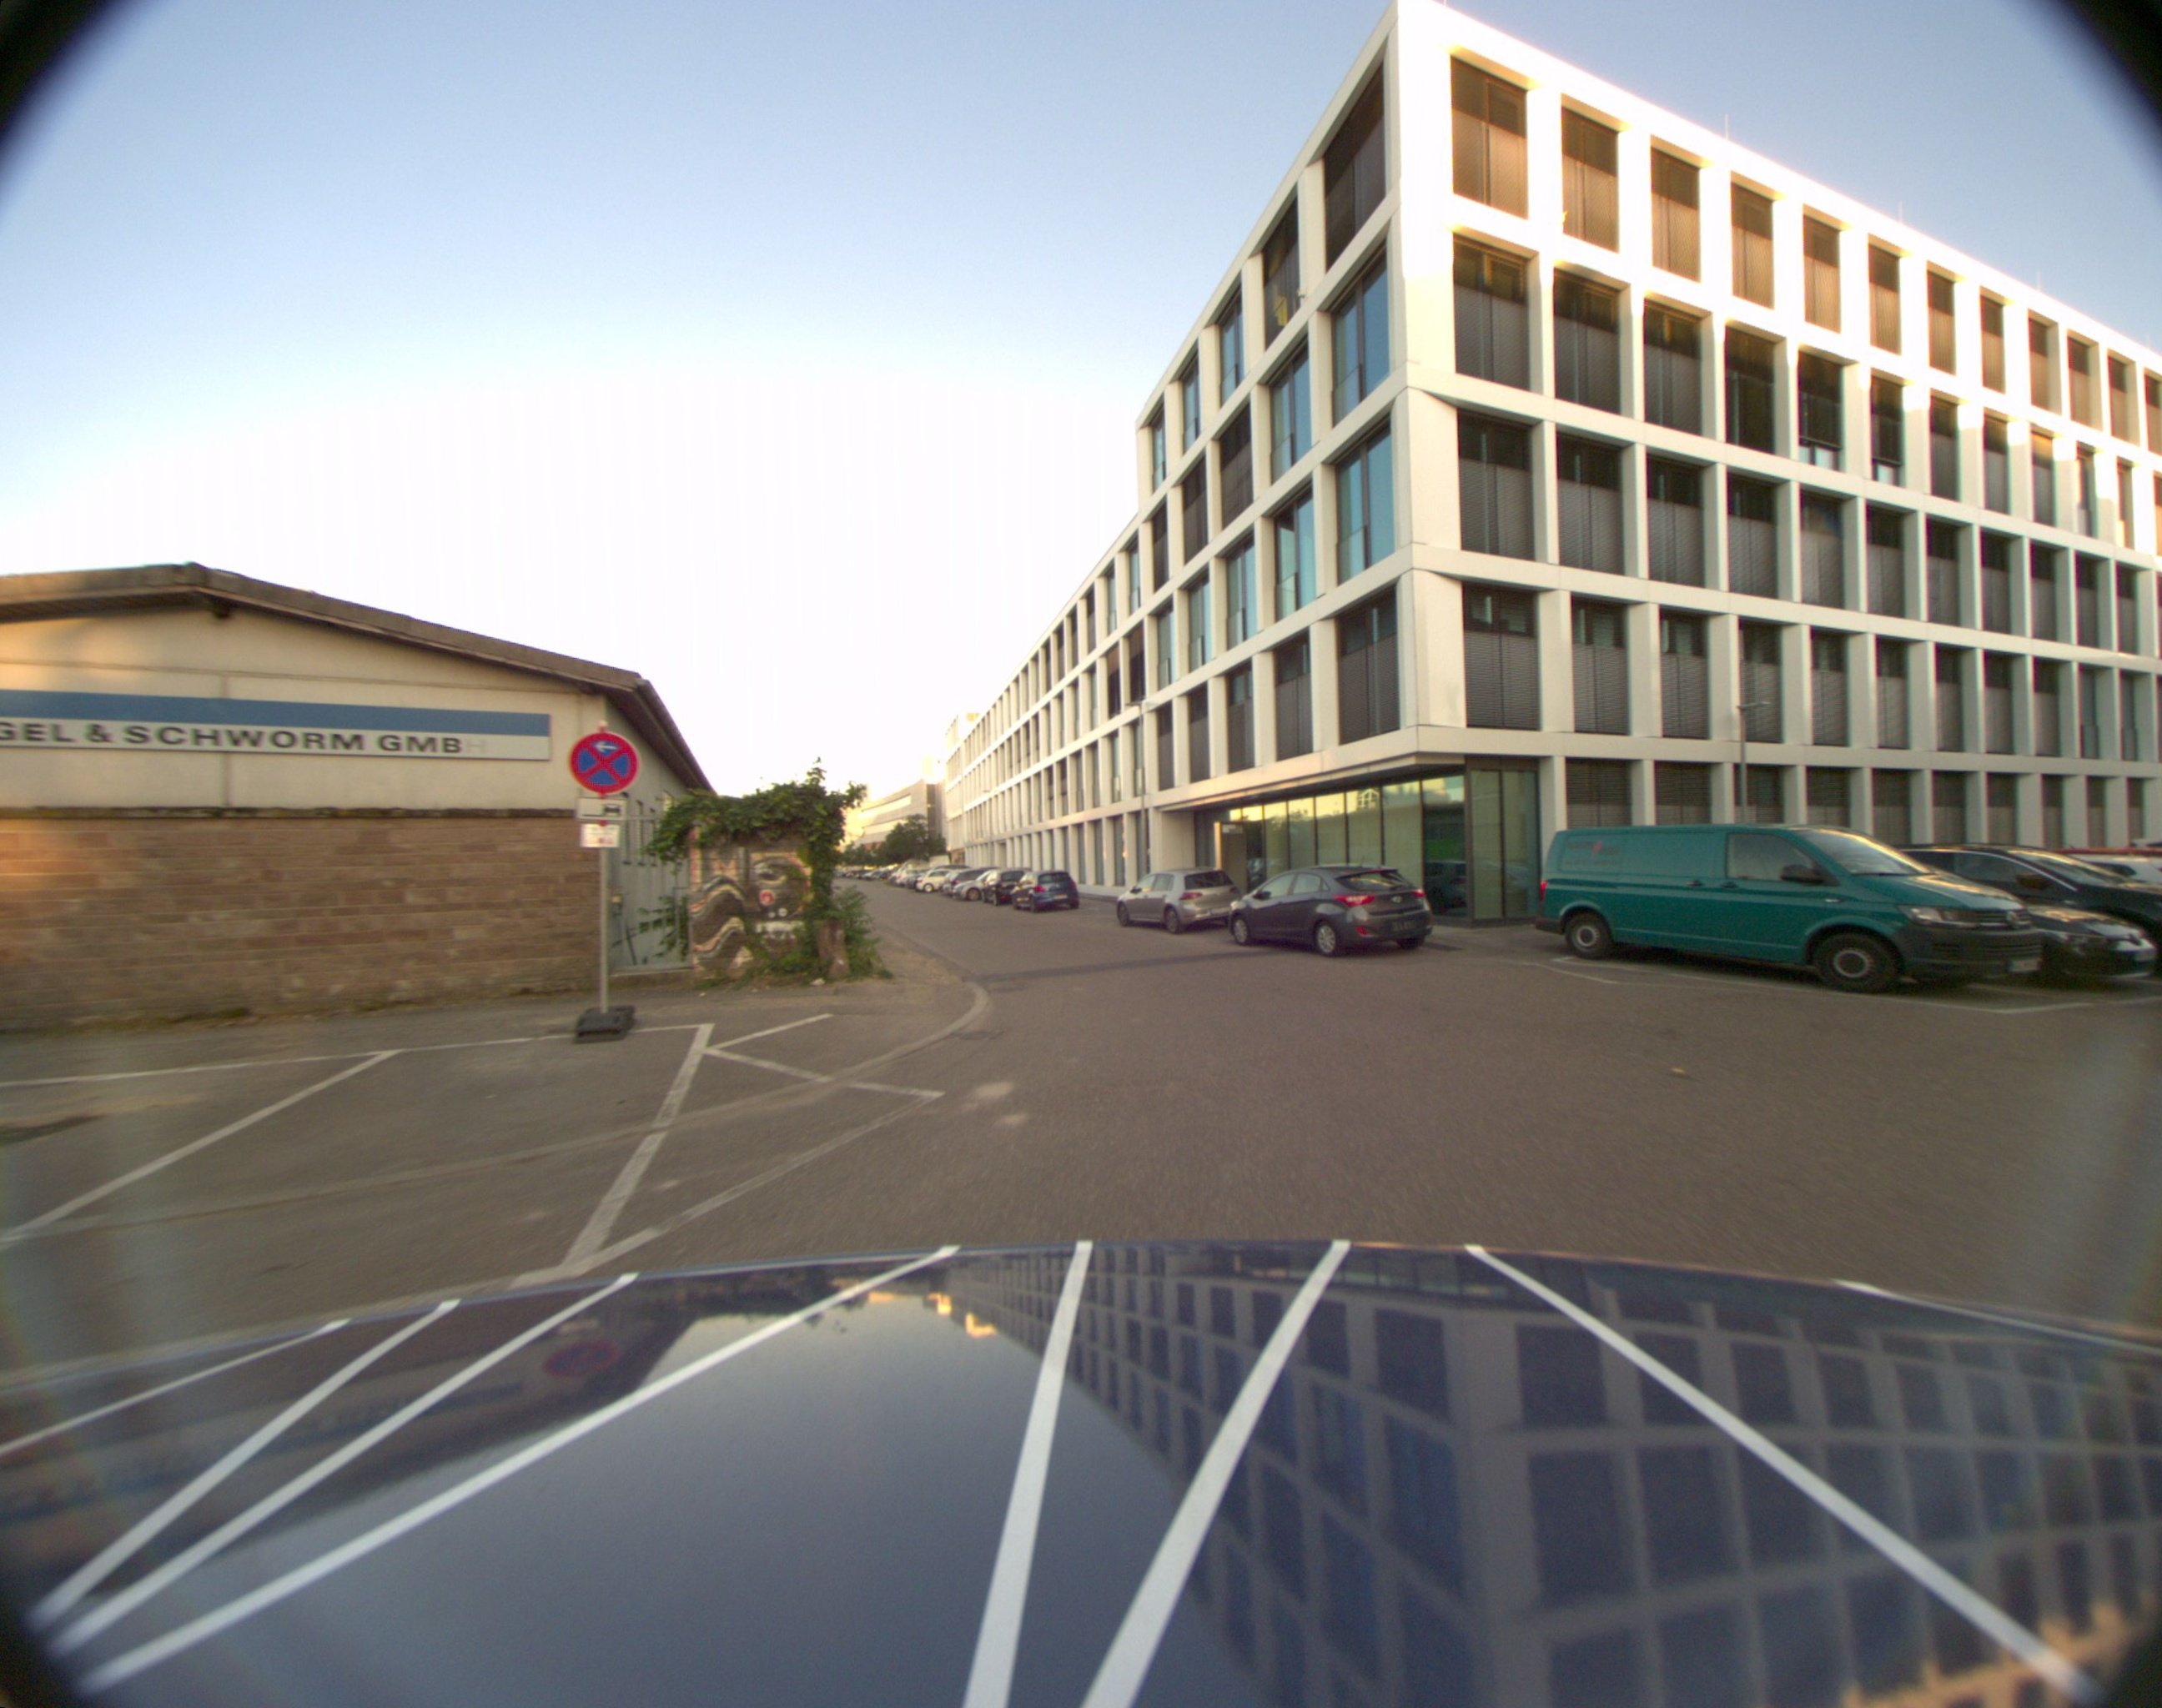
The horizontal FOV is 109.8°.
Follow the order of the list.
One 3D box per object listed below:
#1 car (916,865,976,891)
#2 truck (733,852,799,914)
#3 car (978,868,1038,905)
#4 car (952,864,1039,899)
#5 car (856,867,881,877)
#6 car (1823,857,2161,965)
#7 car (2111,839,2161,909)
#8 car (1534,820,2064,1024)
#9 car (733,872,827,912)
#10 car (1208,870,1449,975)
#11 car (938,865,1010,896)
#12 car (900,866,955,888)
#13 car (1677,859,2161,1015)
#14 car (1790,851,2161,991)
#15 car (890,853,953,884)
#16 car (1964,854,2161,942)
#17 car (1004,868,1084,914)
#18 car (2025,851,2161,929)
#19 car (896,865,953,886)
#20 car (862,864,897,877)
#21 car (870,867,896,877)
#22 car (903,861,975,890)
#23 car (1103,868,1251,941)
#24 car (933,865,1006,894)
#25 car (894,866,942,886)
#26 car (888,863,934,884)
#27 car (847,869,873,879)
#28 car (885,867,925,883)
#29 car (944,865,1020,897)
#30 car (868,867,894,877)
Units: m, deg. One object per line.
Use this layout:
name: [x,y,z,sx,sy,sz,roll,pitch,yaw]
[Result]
car: [-8.722,1.547,49.029,3.680,1.502,1.694,-2,-1,-14]
truck: [-12.388,1.155,30.184,2.106,2.187,5.703,-1,-2,-20]
car: [-3.298,1.386,33.585,1.654,1.430,4.196,-5,1,-19]
car: [-4.227,1.338,37.434,3.941,1.502,1.685,-2,-1,-17]
car: [-36.246,3.088,129.602,3.818,1.352,1.796,-3,0,-24]
car: [15.732,0.827,12.857,1.736,1.448,4.191,-2,1,-20]
car: [26.160,0.473,16.323,1.736,1.603,4.456,-2,1,-20]
car: [8.670,0.659,9.868,1.805,1.968,4.681,-1,0,-20]
car: [-13.429,1.651,34.167,3.774,1.527,1.888,-2,1,-18]
car: [4.168,1.069,13.646,1.787,1.470,4.324,-3,0,-20]
car: [-5.953,1.464,42.152,3.669,1.502,1.685,-2,-1,-17]
car: [-11.557,1.720,57.307,3.797,1.513,1.691,-2,-1,-20]
car: [11.158,0.910,10.489,1.787,1.541,4.323,-2,1,-20]
car: [13.575,0.818,11.143,1.736,1.650,4.323,-2,1,-20]
car: [-14.519,1.316,69.174,5.402,2.617,2.075,-2,-1,-17]
car: [19.184,0.763,13.510,1.736,1.448,4.191,-2,1,-20]
car: [-1.451,1.308,28.044,1.654,1.430,4.178,-5,1,-21]
car: [21.710,0.697,14.553,1.736,1.448,4.191,-2,1,-20]
car: [-12.826,1.739,62.209,4.324,1.486,1.792,-2,-1,-16]
car: [-32.020,2.650,120.912,5.090,1.870,1.886,-3,0,-24]
car: [-30.229,2.747,116.131,3.660,1.416,1.723,-3,0,-19]
car: [-9.616,1.451,51.405,4.636,1.696,2.002,-2,-1,-14]
car: [2.244,1.173,18.935,1.717,1.470,4.177,-5,1,-22]
car: [-6.584,1.496,44.615,3.980,1.502,1.793,-2,-1,-17]
car: [-13.867,1.851,64.583,3.722,1.486,1.705,-2,-1,-18]
car: [-16.570,1.892,74.080,4.125,1.806,1.813,-2,-1,-22]
car: [-39.910,3.652,137.296,4.034,1.574,1.796,-3,0,-30]
car: [-19.535,2.330,84.161,4.125,1.509,1.842,-2,-1,-19]
car: [-5.216,1.410,40.020,3.669,1.502,1.685,-2,-1,-17]
car: [-31.210,2.838,118.584,3.660,1.416,1.723,-3,0,-20]
